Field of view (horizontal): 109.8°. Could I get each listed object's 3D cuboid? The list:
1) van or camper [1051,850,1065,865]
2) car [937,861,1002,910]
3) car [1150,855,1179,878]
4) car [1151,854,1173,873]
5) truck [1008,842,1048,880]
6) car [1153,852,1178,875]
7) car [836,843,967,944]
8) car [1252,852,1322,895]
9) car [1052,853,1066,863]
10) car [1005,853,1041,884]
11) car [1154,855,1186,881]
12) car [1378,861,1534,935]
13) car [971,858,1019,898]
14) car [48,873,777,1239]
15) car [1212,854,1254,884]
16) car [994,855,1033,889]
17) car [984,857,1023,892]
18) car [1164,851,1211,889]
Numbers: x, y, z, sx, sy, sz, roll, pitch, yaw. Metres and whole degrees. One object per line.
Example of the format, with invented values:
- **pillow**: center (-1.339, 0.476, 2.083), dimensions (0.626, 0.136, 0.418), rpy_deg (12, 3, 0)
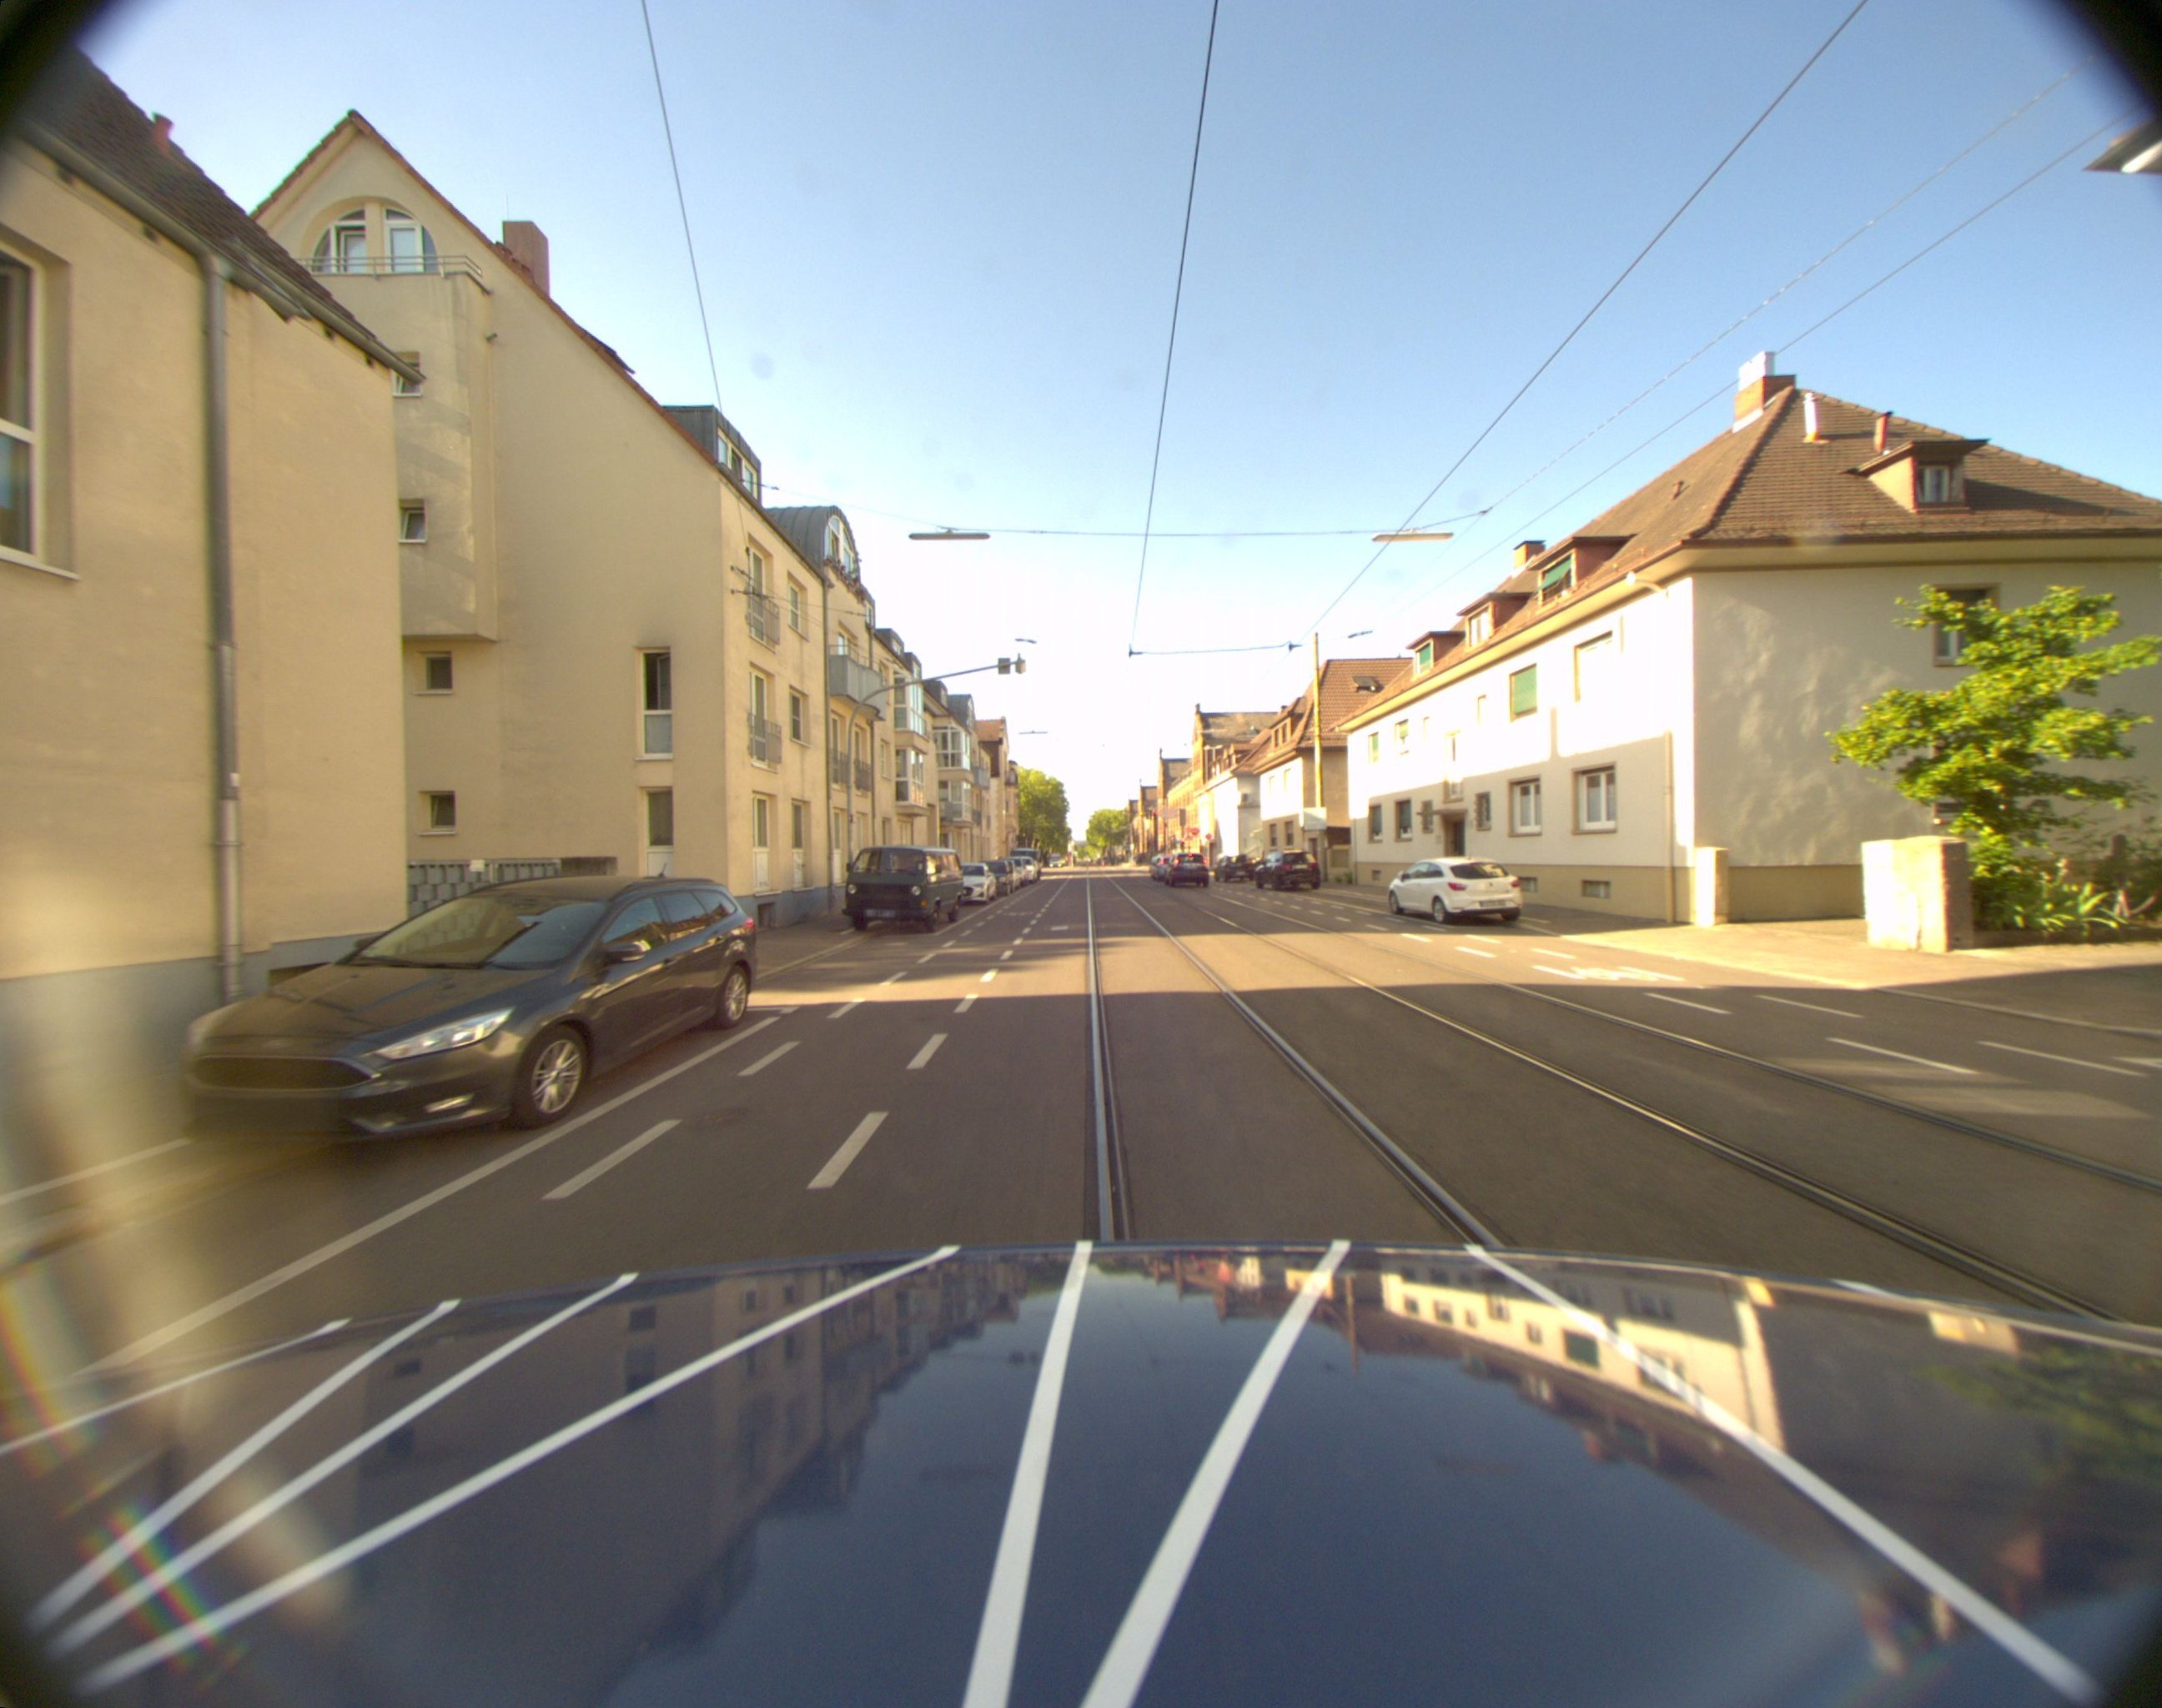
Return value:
- **van or camper**: center (-3.909, 0.576, 129.984), dimensions (1.998, 2.346, 5.600), rpy_deg (-1, -1, 0)
- **car**: center (-3.884, 1.057, 27.078), dimensions (1.681, 1.482, 4.172), rpy_deg (-3, 0, 0)
- **car**: center (5.471, 0.781, 50.203), dimensions (1.586, 1.452, 3.613), rpy_deg (0, 0, 2)
- **car**: center (6.805, 0.779, 63.905), dimensions (1.687, 1.558, 3.929), rpy_deg (1, 0, 4)
- **truck**: center (-3.655, 0.455, 53.429), dimensions (2.301, 2.463, 6.146), rpy_deg (-1, 0, 1)
- **car**: center (6.390, 0.698, 57.869), dimensions (1.742, 1.601, 4.716), rpy_deg (0, 0, 5)
- **car**: center (-3.997, 0.814, 17.790), dimensions (1.910, 1.975, 4.562), rpy_deg (-3, 0, 0)
- **car**: center (8.706, 0.760, 32.509), dimensions (1.766, 1.695, 4.555), rpy_deg (0, 0, 0)
- **car**: center (-3.486, 0.585, 119.771), dimensions (1.984, 1.539, 4.035), rpy_deg (-1, -1, 1)
- **car**: center (-3.529, 0.866, 46.958), dimensions (1.743, 1.736, 4.255), rpy_deg (-3, 0, 1)
- **car**: center (5.222, 0.793, 45.012), dimensions (1.621, 1.452, 4.076), rpy_deg (0, 0, 3)
- **car**: center (8.451, 0.909, 17.530), dimensions (1.635, 1.449, 4.015), rpy_deg (0, 0, 1)
- **car**: center (-3.609, 0.967, 32.395), dimensions (1.558, 1.548, 3.652), rpy_deg (-3, 0, 0)
- **car**: center (-4.133, 1.038, 5.922), dimensions (1.749, 1.589, 4.433), rpy_deg (-3, 0, -1)
- **car**: center (8.800, 0.819, 44.147), dimensions (1.619, 1.618, 3.921), rpy_deg (0, 0, 0)
- **car**: center (-3.639, 0.923, 41.536), dimensions (1.606, 1.690, 3.989), rpy_deg (-3, 0, 1)
- **car**: center (-3.710, 0.953, 36.858), dimensions (1.500, 1.548, 3.364), rpy_deg (-3, 0, 0)
- **car**: center (5.110, 0.722, 36.989), dimensions (1.708, 1.695, 4.364), rpy_deg (0, 0, 1)
